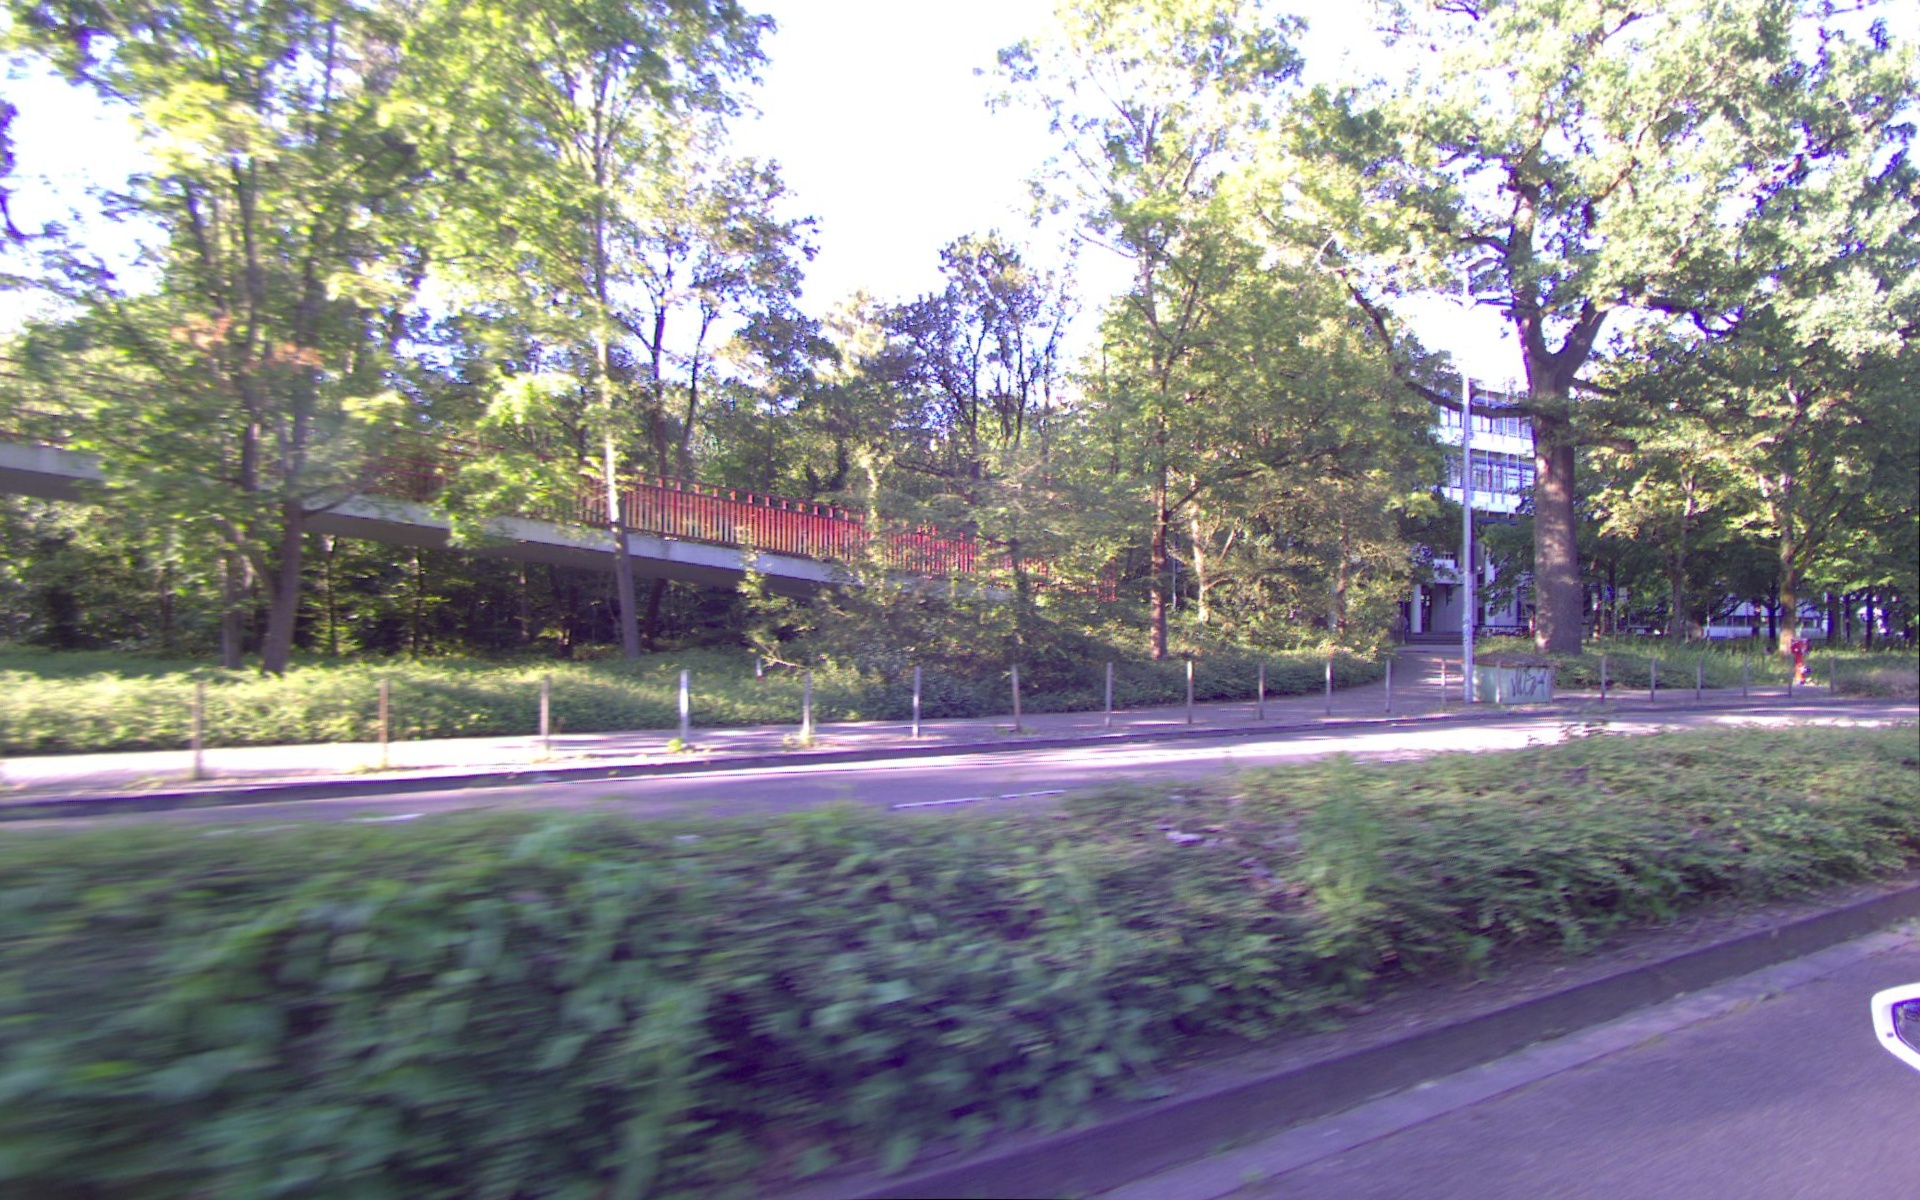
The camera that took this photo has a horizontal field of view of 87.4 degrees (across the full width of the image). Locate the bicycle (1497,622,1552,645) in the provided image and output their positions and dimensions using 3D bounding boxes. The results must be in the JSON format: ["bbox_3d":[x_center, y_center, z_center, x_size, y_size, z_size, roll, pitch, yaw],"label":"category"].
[{"bbox_3d":[27.386,1.625,48.747,2.588,1.086,0.536,0,3,-11],"label":"bicycle"}]

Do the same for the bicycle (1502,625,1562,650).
[{"bbox_3d":[26.825,1.769,47.138,2.380,1.086,0.537,1,2,10],"label":"bicycle"}]
